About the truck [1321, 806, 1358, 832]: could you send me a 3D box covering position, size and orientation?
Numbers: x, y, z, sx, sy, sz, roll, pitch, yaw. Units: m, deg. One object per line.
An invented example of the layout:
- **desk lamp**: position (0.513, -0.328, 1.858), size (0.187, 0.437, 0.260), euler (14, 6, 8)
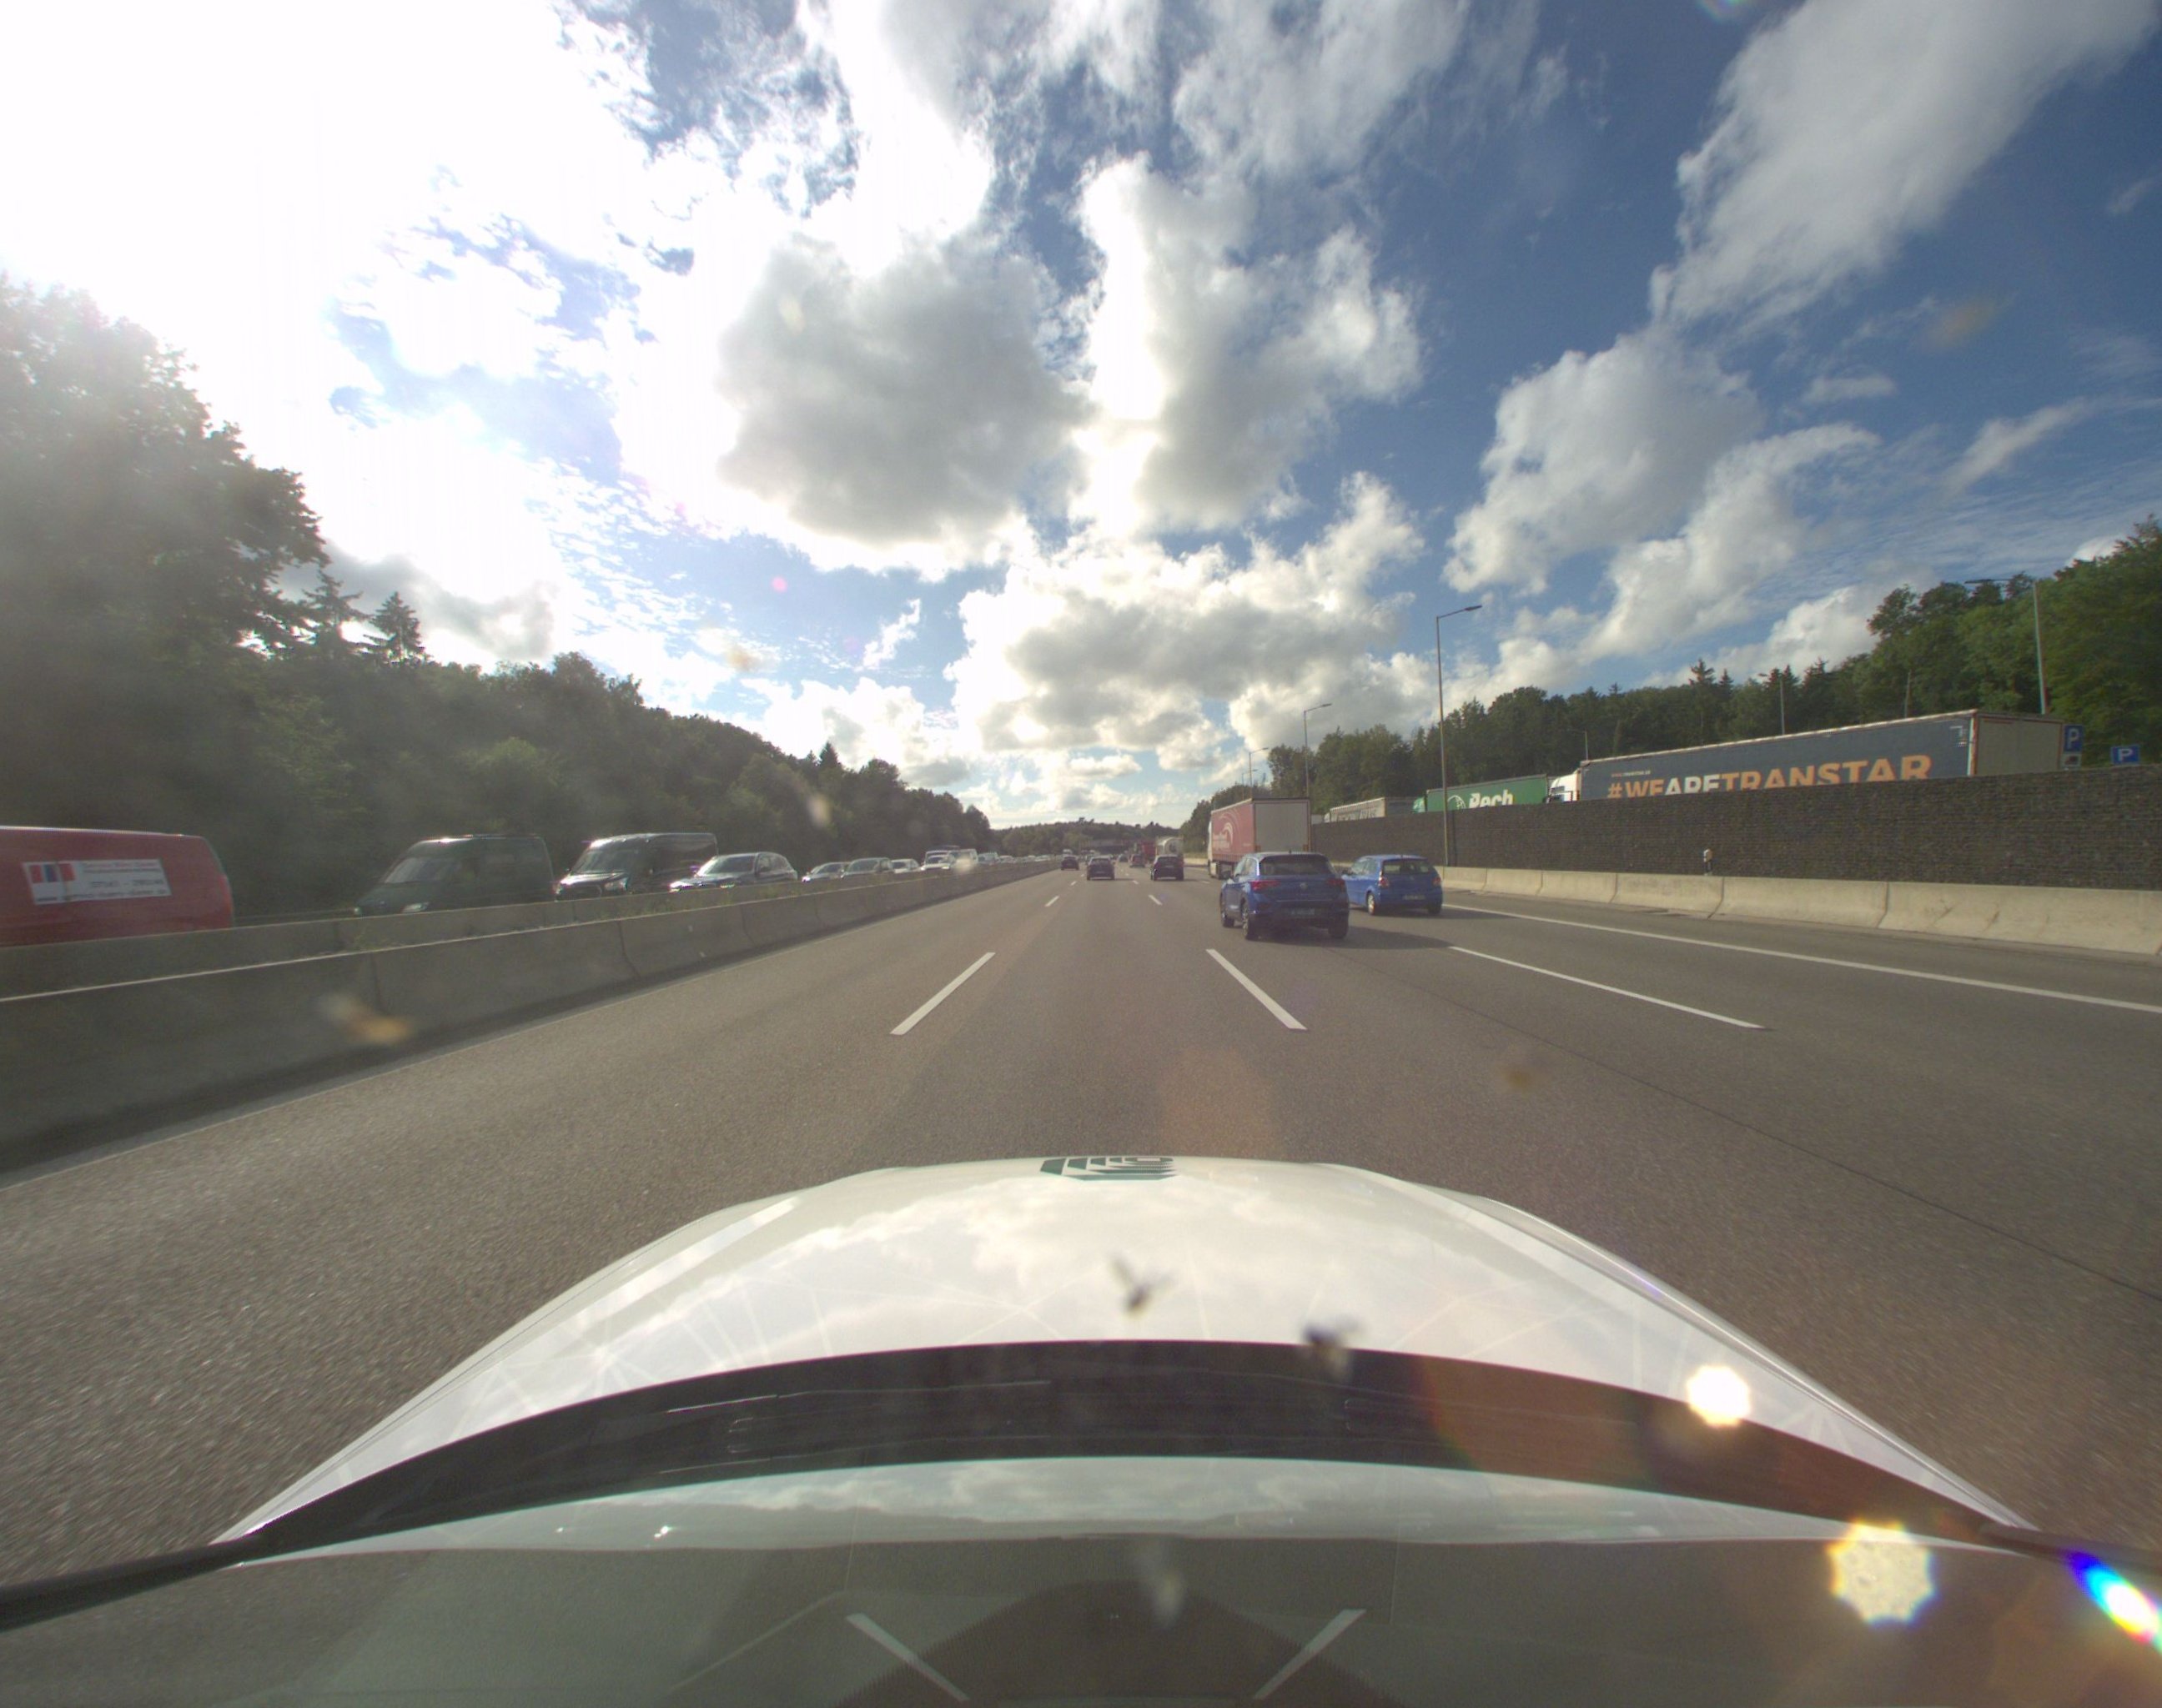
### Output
- **truck**: position (22.935, -3.079, 72.344), size (2.037, 2.014, 4.096), euler (-1, -2, 1)

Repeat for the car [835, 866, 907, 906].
- **car**: position (-8.833, 1.312, 34.592), size (1.985, 1.572, 3.513), euler (0, 0, 3)

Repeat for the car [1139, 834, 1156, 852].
- **car**: position (11.929, -1.996, 145.869), size (2.855, 2.992, 5.152), euler (-1, -2, 3)

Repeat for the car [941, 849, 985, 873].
- **car**: position (-8.065, 0.477, 56.280), size (1.985, 1.572, 5.333), euler (1, 0, 3)

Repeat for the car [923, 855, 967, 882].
- **car**: position (-8.167, 0.835, 49.299), size (1.758, 1.572, 4.360), euler (0, 0, 3)

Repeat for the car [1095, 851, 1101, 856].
- **car**: position (5.361, -0.244, 257.553), size (1.617, 1.470, 3.816), euler (0, -1, 2)

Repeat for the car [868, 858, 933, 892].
- **car**: position (-8.801, 0.972, 40.098), size (1.985, 1.572, 4.360), euler (0, 0, 3)

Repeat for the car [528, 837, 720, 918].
- **car**: position (-12.850, 0.598, 23.502), size (1.985, 2.032, 5.850), euler (0, 0, 3)

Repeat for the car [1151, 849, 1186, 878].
- **car**: position (5.151, 0.557, 48.176), size (1.792, 1.644, 4.002), euler (0, -1, 2)

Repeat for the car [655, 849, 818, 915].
- **car**: position (-9.111, 0.674, 22.158), size (1.985, 1.572, 5.211), euler (0, 0, 3)

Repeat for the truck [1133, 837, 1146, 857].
- **truck**: position (11.827, -1.286, 164.160), size (2.348, 3.573, 11.273), euler (-1, -2, 3)

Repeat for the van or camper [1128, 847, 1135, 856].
- **van or camper**: position (15.729, -0.756, 253.206), size (2.076, 2.493, 4.226), euler (-1, 0, 1)

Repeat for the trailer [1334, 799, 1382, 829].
- **trailer**: position (22.818, -3.243, 67.330), size (2.037, 2.014, 6.007), euler (-1, -2, 1)

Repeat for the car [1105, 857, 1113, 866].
- **car**: position (6.620, 1.708, 193.026), size (1.986, 2.014, 4.001), euler (-2, -2, 1)

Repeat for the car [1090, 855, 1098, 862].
- **car**: position (3.446, 1.227, 217.587), size (1.987, 2.014, 3.998), euler (-1, 0, -1)

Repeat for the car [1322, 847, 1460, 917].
- **car**: position (7.578, 0.663, 20.381), size (1.710, 1.511, 4.299), euler (-2, -1, -1)

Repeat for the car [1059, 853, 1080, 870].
- **car**: position (-1.204, 0.785, 88.031), size (1.986, 1.776, 4.002), euler (-2, 0, 2)

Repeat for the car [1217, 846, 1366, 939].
- **car**: position (3.861, 0.659, 15.794), size (1.916, 1.541, 4.648), euler (0, -1, 3)

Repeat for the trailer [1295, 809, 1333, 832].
- **trailer**: position (23.499, -3.372, 82.325), size (2.122, 2.013, 6.323), euler (-2, 0, 1)

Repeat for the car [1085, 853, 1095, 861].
- **car**: position (2.037, 0.734, 189.987), size (2.146, 1.776, 4.002), euler (0, -1, 2)

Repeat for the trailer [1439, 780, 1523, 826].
- **trailer**: position (22.410, -2.813, 45.937), size (1.986, 2.014, 5.776), euler (-1, -2, 1)

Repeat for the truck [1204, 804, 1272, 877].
- **truck**: position (9.301, -0.675, 48.909), size (3.069, 4.064, 6.070), euler (-1, -2, 1)

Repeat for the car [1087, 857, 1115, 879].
- **car**: position (1.252, 0.887, 51.053), size (1.728, 1.365, 4.000), euler (0, -1, 1)

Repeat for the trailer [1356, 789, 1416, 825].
- **trailer**: position (22.635, -3.455, 60.839), size (2.043, 2.014, 6.965), euler (-1, -2, 2)

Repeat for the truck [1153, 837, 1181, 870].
- **truck**: position (11.175, 0.029, 106.542), size (3.035, 4.160, 7.128), euler (-1, -1, 1)

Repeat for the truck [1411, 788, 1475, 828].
- **truck**: position (22.595, -2.821, 51.050), size (2.037, 2.014, 4.783), euler (-1, -2, 3)

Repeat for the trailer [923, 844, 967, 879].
- **trailer**: position (-11.613, 0.626, 70.435), size (2.271, 2.786, 8.541), euler (-1, 0, 1)

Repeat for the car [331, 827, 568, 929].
- **car**: position (-16.497, 0.565, 21.773), size (1.985, 2.373, 5.333), euler (0, 0, 3)

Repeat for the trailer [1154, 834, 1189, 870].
- **trailer**: position (11.012, -0.095, 100.270), size (3.025, 4.016, 12.246), euler (-1, -1, 1)

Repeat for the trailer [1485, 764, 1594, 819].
- **trailer**: position (22.306, -2.987, 39.990), size (1.986, 2.014, 6.193), euler (-1, -2, 1)

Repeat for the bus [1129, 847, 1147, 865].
- **bus**: position (6.741, 0.230, 97.012), size (1.986, 2.014, 4.001), euler (-1, -2, 2)

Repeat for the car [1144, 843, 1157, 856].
- **car**: position (11.550, -0.663, 135.972), size (1.986, 2.014, 4.001), euler (-1, -2, 1)

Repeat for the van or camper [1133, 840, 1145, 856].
- **van or camper**: position (12.193, -1.272, 171.138), size (2.342, 3.144, 5.714), euler (-1, -2, 3)

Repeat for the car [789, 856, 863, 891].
- **car**: position (-12.077, 0.877, 38.909), size (1.985, 1.572, 4.360), euler (0, 0, 3)

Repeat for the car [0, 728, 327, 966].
- **car**: position (-8.936, -0.043, 5.967), size (1.869, 1.762, 5.294), euler (-1, 0, 0)

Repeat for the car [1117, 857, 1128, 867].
- **car**: position (8.538, 1.629, 167.567), size (1.986, 2.014, 4.001), euler (0, -1, 1)

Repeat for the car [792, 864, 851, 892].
- **car**: position (-15.899, 1.445, 50.135), size (1.985, 1.572, 4.360), euler (0, 0, 3)

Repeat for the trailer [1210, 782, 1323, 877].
- **trailer**: position (9.116, -0.859, 42.121), size (3.027, 4.036, 13.892), euler (-1, -2, 2)
